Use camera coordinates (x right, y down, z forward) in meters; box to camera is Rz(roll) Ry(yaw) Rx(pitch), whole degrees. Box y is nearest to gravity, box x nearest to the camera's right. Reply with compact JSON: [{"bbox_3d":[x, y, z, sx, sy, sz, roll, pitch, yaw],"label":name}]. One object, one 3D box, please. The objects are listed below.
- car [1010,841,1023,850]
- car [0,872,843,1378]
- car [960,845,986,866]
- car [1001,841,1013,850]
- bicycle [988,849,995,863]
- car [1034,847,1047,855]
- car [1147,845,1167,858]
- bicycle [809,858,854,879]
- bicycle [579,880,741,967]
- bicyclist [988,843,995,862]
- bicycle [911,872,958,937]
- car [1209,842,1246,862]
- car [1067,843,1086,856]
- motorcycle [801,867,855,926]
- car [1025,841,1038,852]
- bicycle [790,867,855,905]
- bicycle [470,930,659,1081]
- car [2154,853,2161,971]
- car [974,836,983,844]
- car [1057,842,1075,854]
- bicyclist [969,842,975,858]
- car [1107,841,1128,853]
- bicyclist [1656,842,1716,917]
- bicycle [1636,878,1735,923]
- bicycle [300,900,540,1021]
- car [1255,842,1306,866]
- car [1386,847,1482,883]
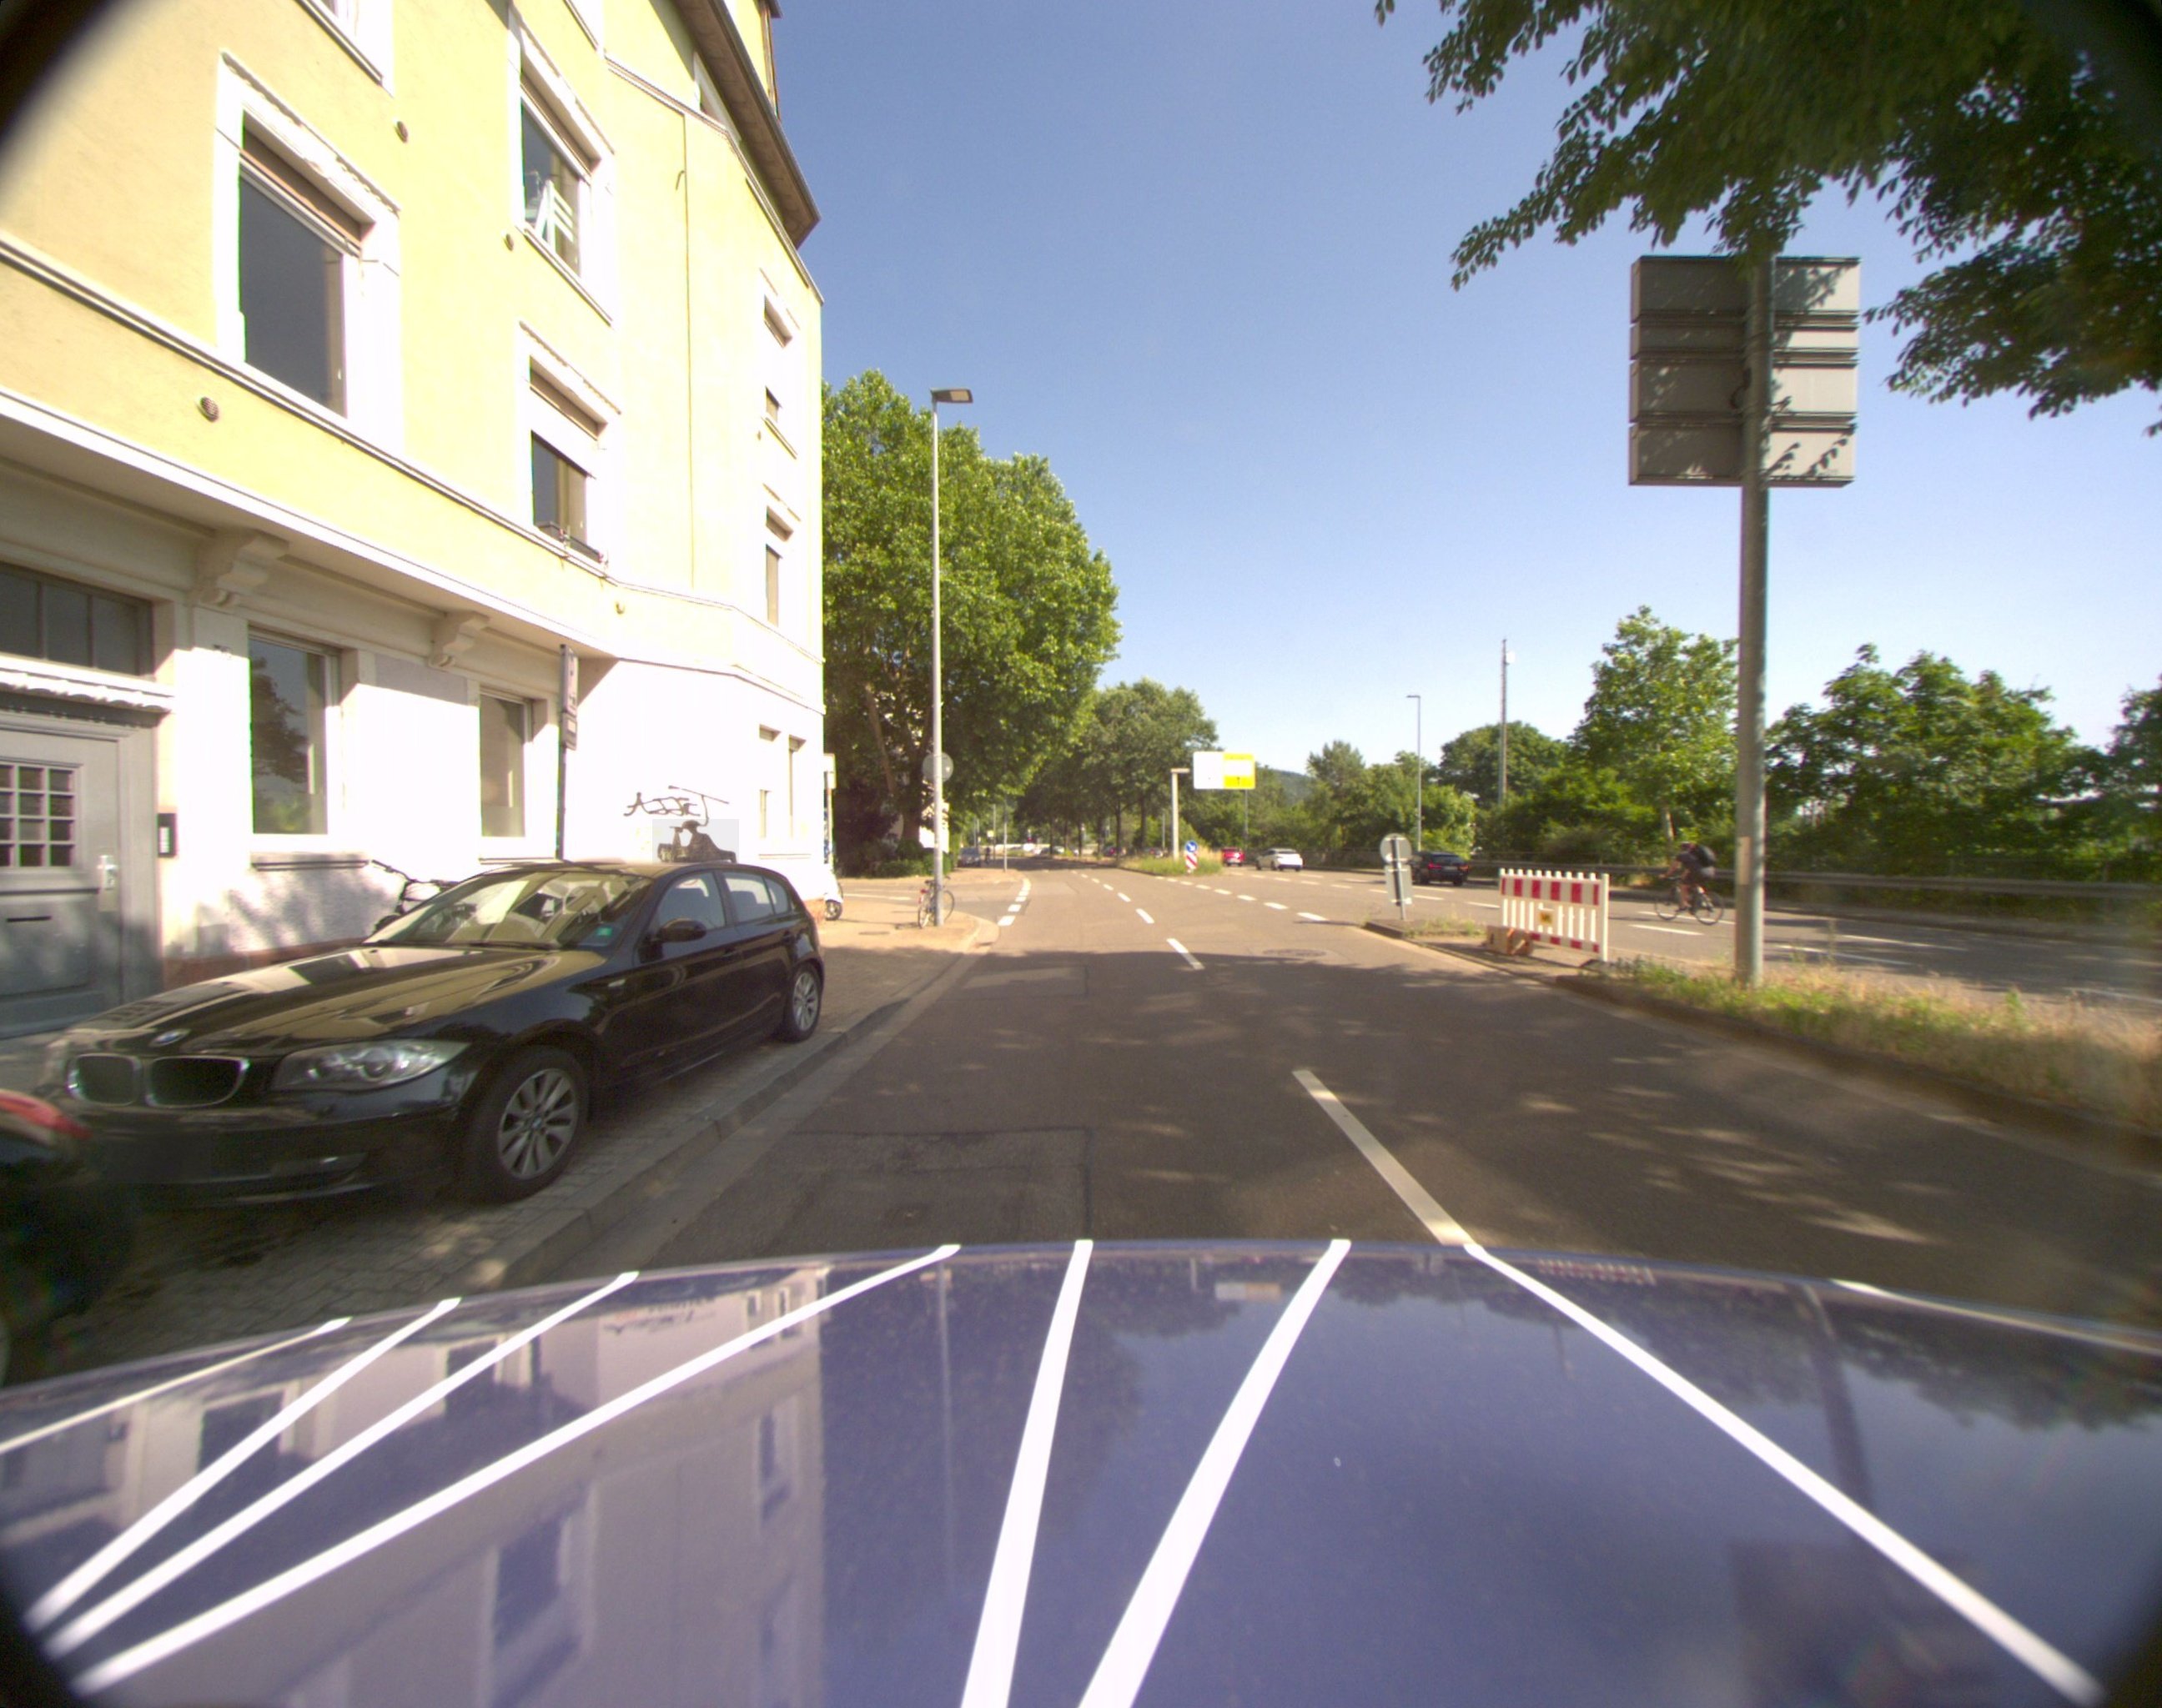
[{"bbox_3d":[-13.706,-1.810,161.904,2.002,1.856,3.993,1,1,-17],"label":"car"},{"bbox_3d":[-3.019,0.882,4.414,1.744,1.408,4.081,0,1,4],"label":"car"},{"bbox_3d":[-8.045,0.053,56.368,1.794,1.504,3.889,0,1,-10],"label":"car"},{"bbox_3d":[-14.718,-1.641,151.066,1.635,1.801,3.586,0,1,-15],"label":"car"},{"bbox_3d":[-7.881,0.148,66.838,0.554,1.182,1.285,1,1,-6],"label":"bicycle"},{"bbox_3d":[-7.257,-0.524,136.108,1.635,1.487,3.675,0,1,-15],"label":"car"},{"bbox_3d":[9.107,-0.293,91.504,1.681,1.461,3.574,0,1,-7],"label":"car"},{"bbox_3d":[-12.407,0.715,37.851,0.970,0.978,1.902,1,1,39],"label":"bicycle"},{"bbox_3d":[-5.663,0.895,10.295,0.537,1.040,1.832,2,1,45],"label":"bicycle"},{"bbox_3d":[-7.880,-0.157,66.831,0.541,1.624,0.589,0,1,-6],"label":"bicyclist"},{"bbox_3d":[-2.751,0.923,14.437,0.578,1.081,1.734,0,1,-1],"label":"bicycle"},{"bbox_3d":[11.568,-0.198,60.189,1.802,1.511,3.962,1,1,-5],"label":"car"},{"bbox_3d":[-0.702,-0.705,114.648,2.000,1.880,3.995,0,1,-11],"label":"car"},{"bbox_3d":[-5.437,0.884,16.258,0.474,1.143,1.759,1,1,-39],"label":"motorcycle"},{"bbox_3d":[-9.296,-1.383,142.803,1.635,1.904,3.675,1,1,-15],"label":"car"},{"bbox_3d":[-7.514,0.917,22.031,1.878,1.028,0.627,0,1,26],"label":"bicycle"},{"bbox_3d":[-4.089,1.152,6.161,0.449,0.886,1.581,2,1,0],"label":"bicycle"},{"bbox_3d":[14.929,0.803,7.524,1.998,1.519,4.698,2,1,3],"label":"car"},{"bbox_3d":[-23.907,-3.273,177.301,1.635,1.801,3.587,0,1,-15],"label":"car"},{"bbox_3d":[-2.390,-1.015,122.218,2.001,1.880,3.994,0,1,-15],"label":"car"},{"bbox_3d":[-13.182,-0.485,92.151,0.648,1.883,0.838,0,1,-16],"label":"bicyclist"},{"bbox_3d":[5.267,-1.030,109.707,1.924,1.654,4.306,0,1,-12],"label":"car"},{"bbox_3d":[12.650,0.511,15.902,0.575,1.525,0.778,0,1,-6],"label":"bicyclist"},{"bbox_3d":[12.643,0.952,15.962,0.495,0.828,1.805,0,1,-5],"label":"bicycle"},{"bbox_3d":[-6.734,1.030,7.931,0.609,0.940,2.114,0,1,1],"label":"bicycle"},{"bbox_3d":[12.846,-0.001,49.147,1.870,1.444,4.202,1,1,-5],"label":"car"},{"bbox_3d":[15.124,0.404,32.901,1.998,1.403,4.615,1,1,0],"label":"car"}]
